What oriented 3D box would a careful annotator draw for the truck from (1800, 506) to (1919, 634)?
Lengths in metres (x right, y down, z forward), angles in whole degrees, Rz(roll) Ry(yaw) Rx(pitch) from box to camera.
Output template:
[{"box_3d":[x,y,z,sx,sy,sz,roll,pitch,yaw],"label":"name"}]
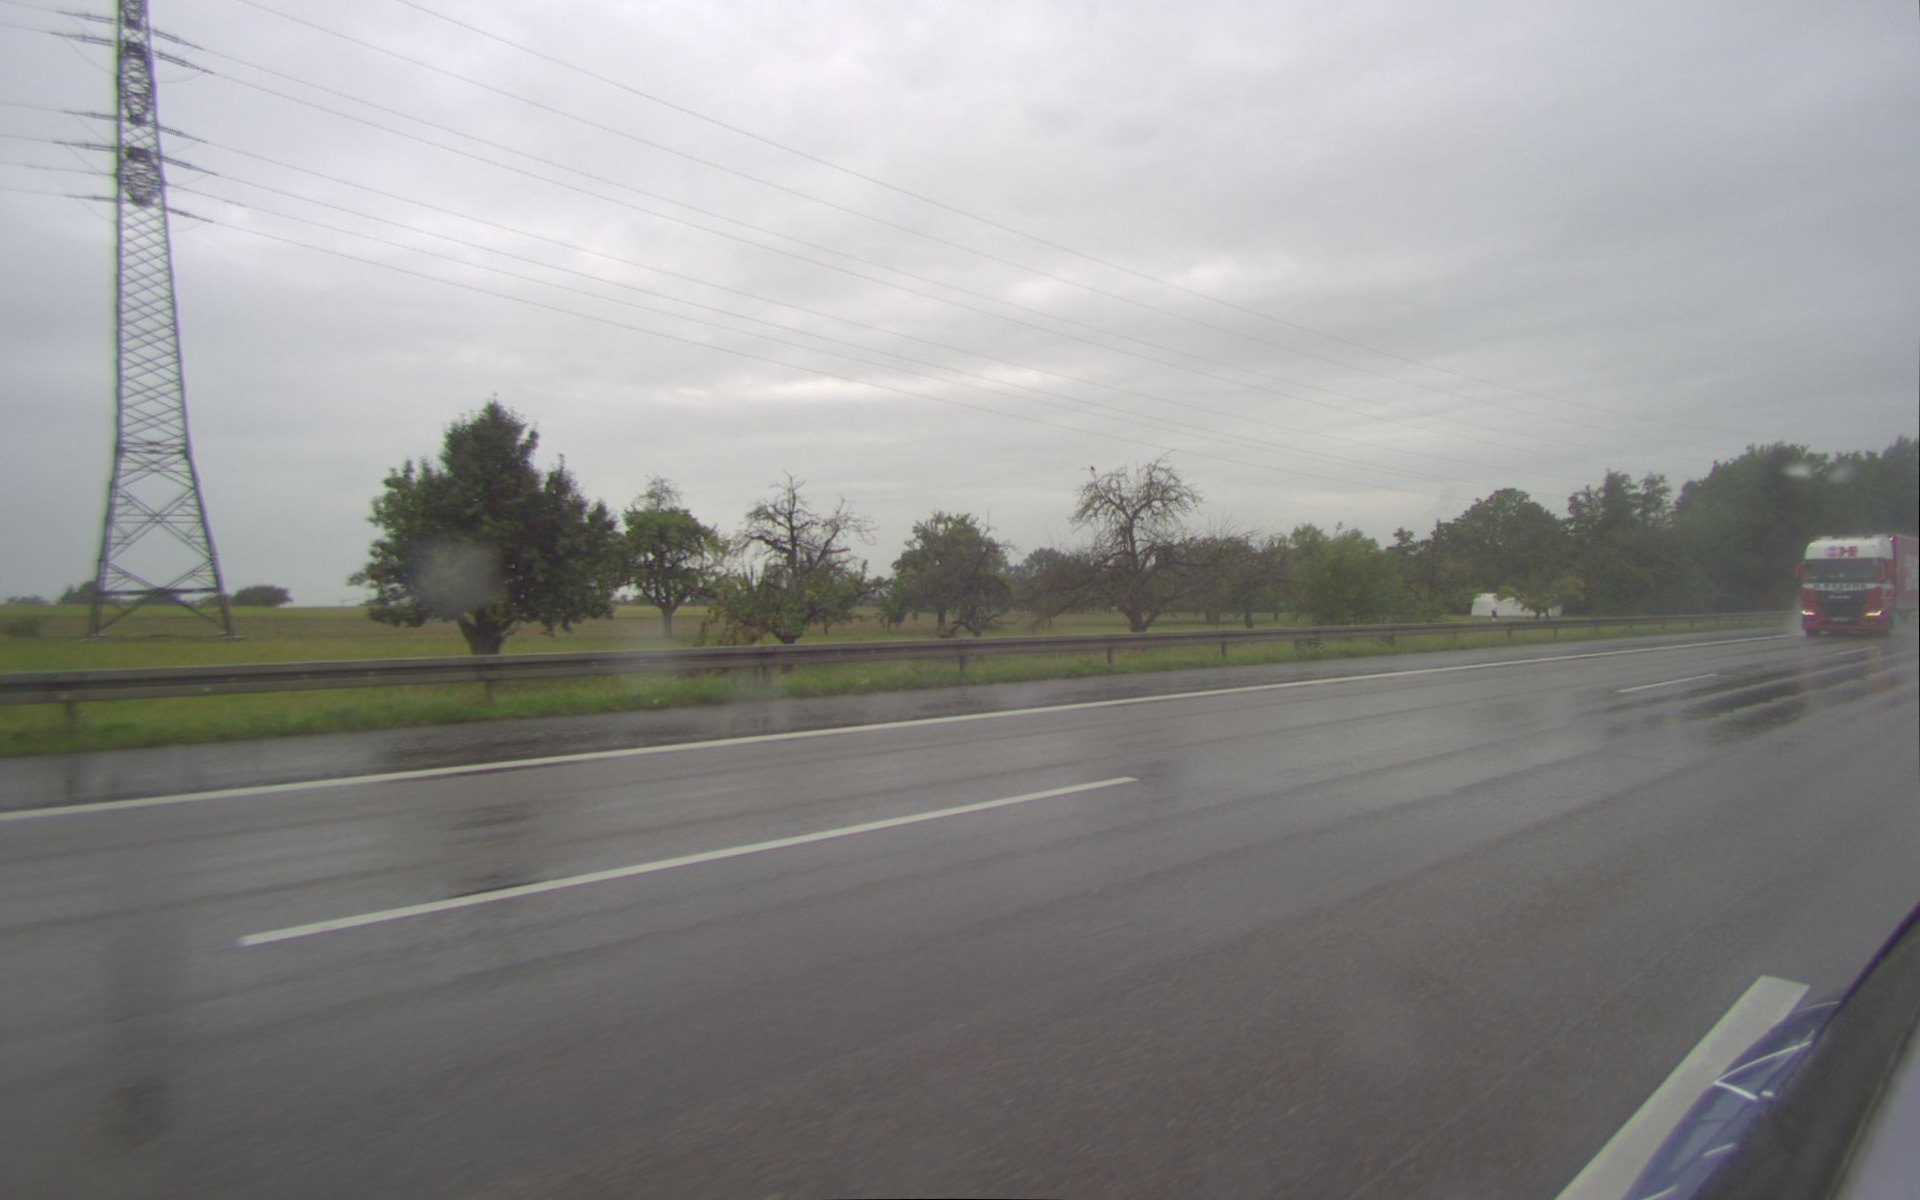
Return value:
[{"box_3d":[38.348,-1.181,42.280,11.203,4.728,3.134,-1,0,-40],"label":"truck"}]
